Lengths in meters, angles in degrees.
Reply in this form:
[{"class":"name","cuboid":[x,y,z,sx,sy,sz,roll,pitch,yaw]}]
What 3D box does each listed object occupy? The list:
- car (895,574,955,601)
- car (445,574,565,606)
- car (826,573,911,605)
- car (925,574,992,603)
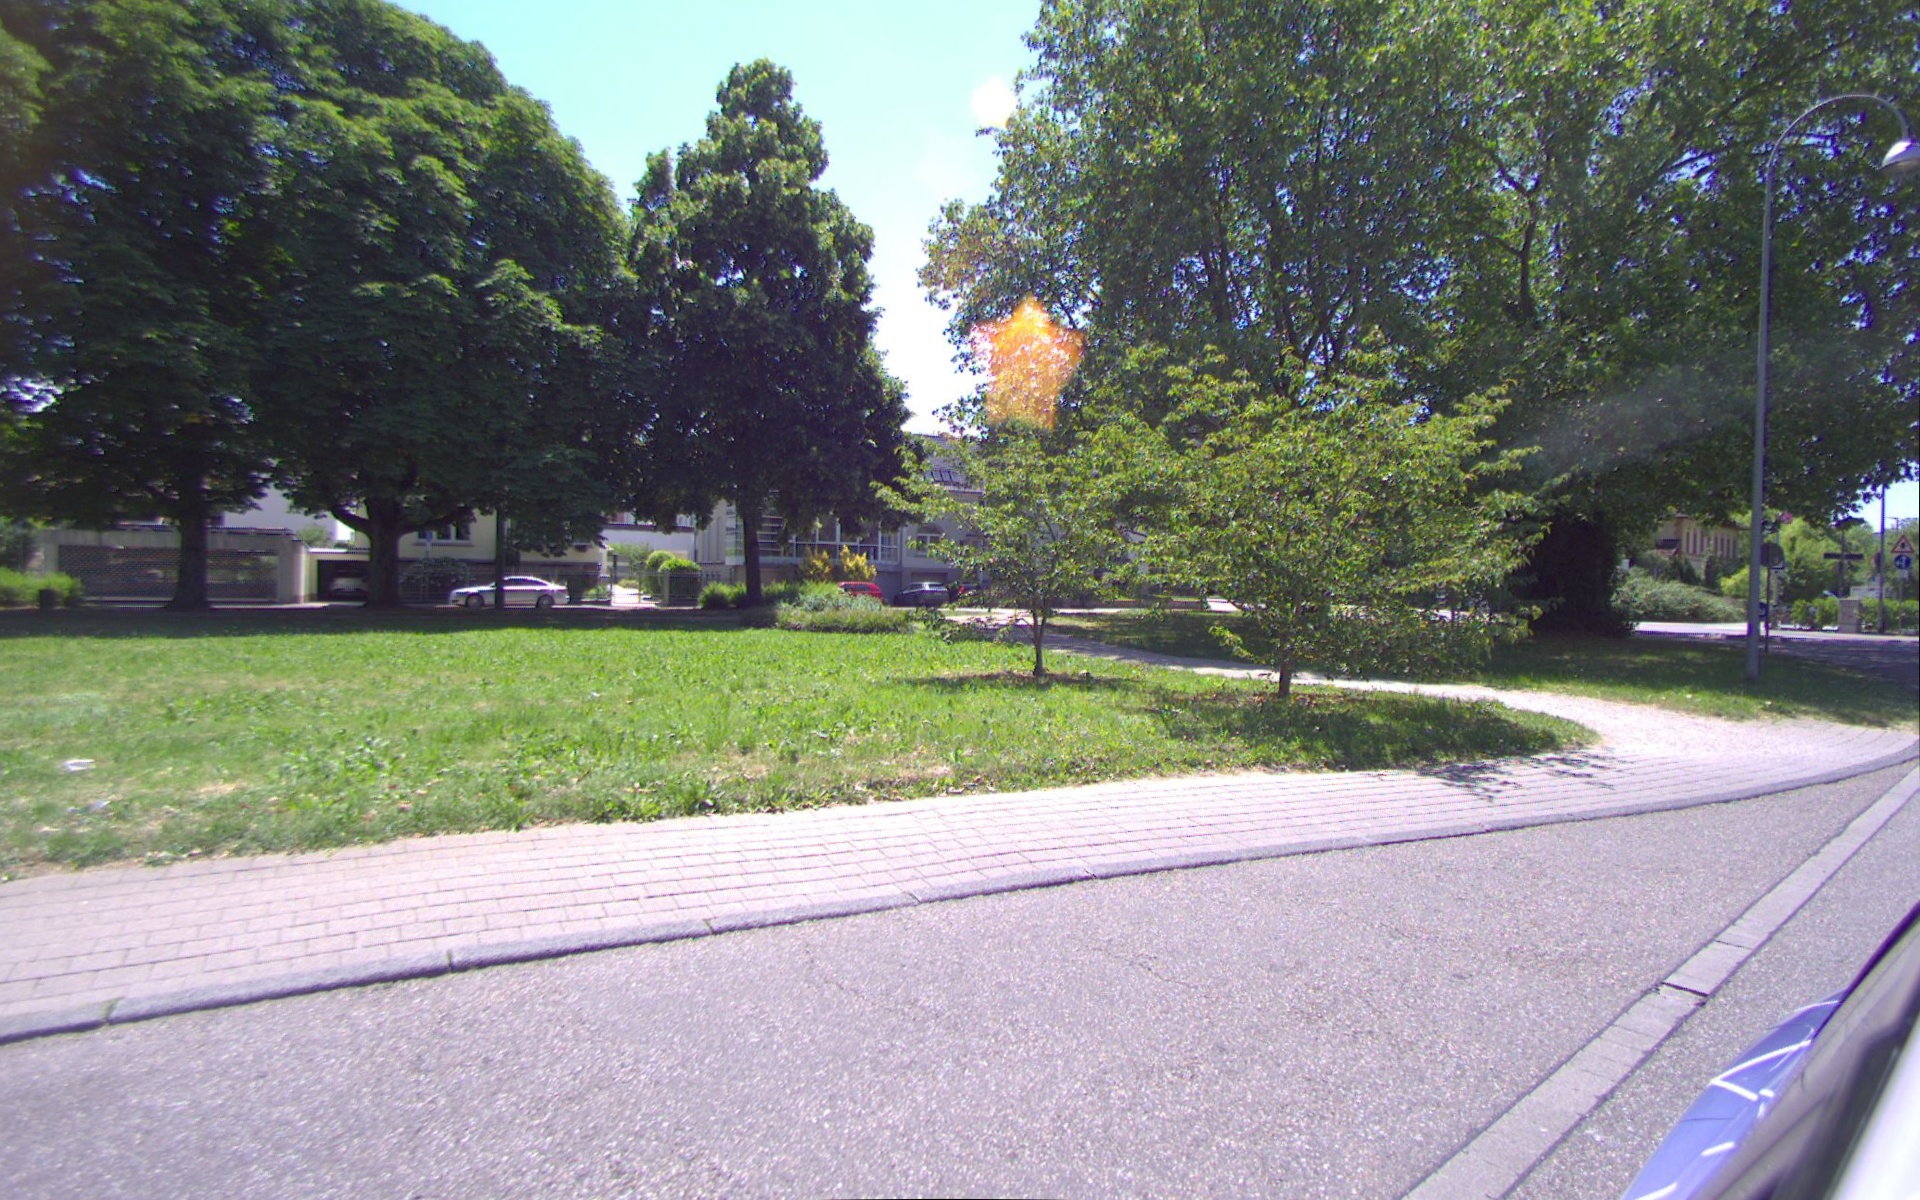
[{"class":"car","cuboid":[-2.048,-0.726,58.037,1.959,1.409,4.008,1,1,-25]},{"class":"car","cuboid":[-19.652,-0.464,43.754,4.619,1.303,1.674,-1,3,-27]},{"class":"car","cuboid":[-4.649,-0.560,51.581,3.920,1.543,1.756,0,1,-30]},{"class":"car","cuboid":[-0.114,-0.691,60.028,1.963,1.587,4.000,0,2,-36]}]
